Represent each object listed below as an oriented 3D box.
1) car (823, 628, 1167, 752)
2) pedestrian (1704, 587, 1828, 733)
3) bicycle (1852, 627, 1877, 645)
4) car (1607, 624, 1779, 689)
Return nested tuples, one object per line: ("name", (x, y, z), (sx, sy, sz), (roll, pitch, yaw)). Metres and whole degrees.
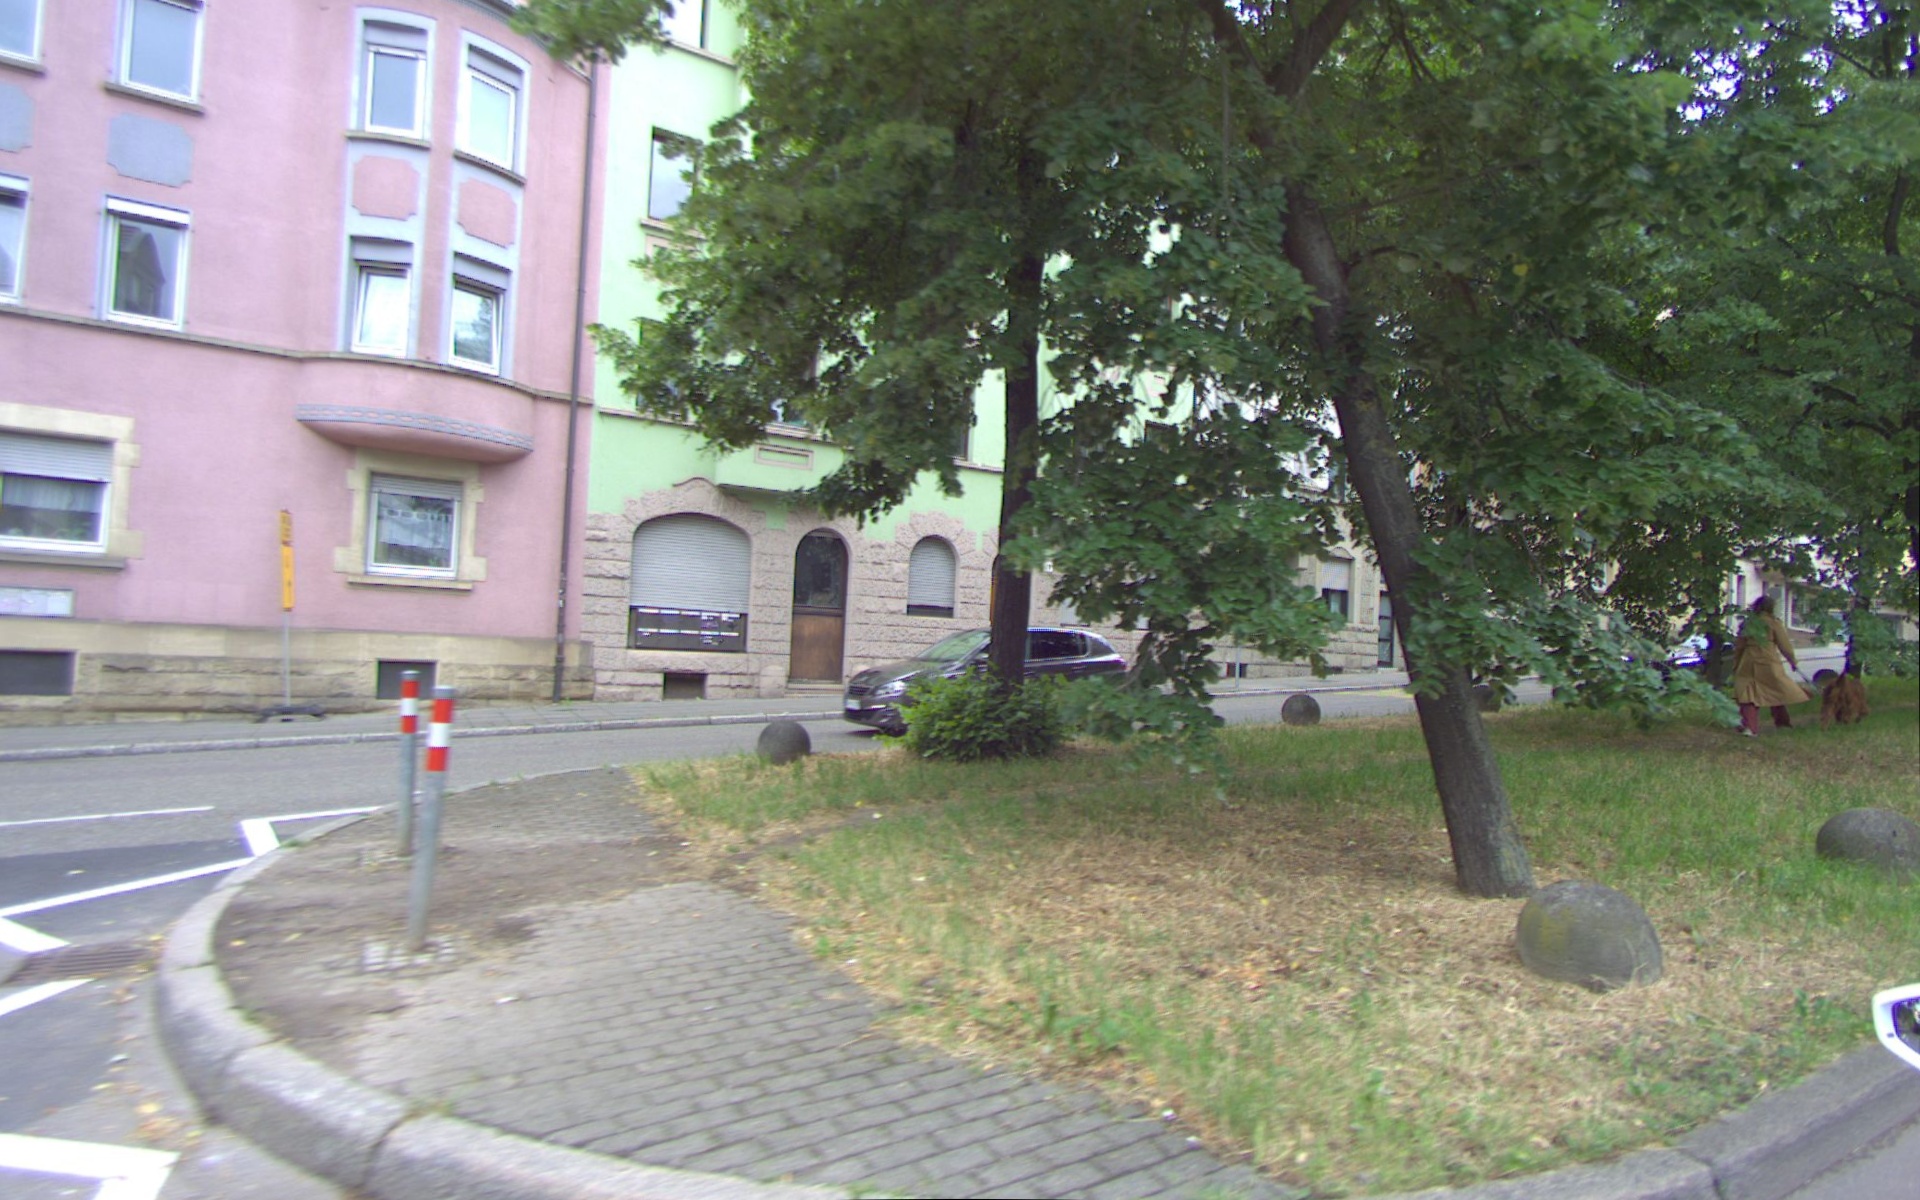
("car", (0.561, 1.139, 14.001), (4.613, 1.400, 1.701), (0, -2, -31))
("pedestrian", (10.149, 0.768, 12.652), (1.110, 1.734, 0.829), (3, -5, -31))
("bicycle", (59.111, 2.346, 65.658), (0.751, 1.099, 2.033), (3, -1, 30))
("car", (18.155, 1.347, 24.834), (4.613, 1.400, 1.750), (0, -2, -31))
